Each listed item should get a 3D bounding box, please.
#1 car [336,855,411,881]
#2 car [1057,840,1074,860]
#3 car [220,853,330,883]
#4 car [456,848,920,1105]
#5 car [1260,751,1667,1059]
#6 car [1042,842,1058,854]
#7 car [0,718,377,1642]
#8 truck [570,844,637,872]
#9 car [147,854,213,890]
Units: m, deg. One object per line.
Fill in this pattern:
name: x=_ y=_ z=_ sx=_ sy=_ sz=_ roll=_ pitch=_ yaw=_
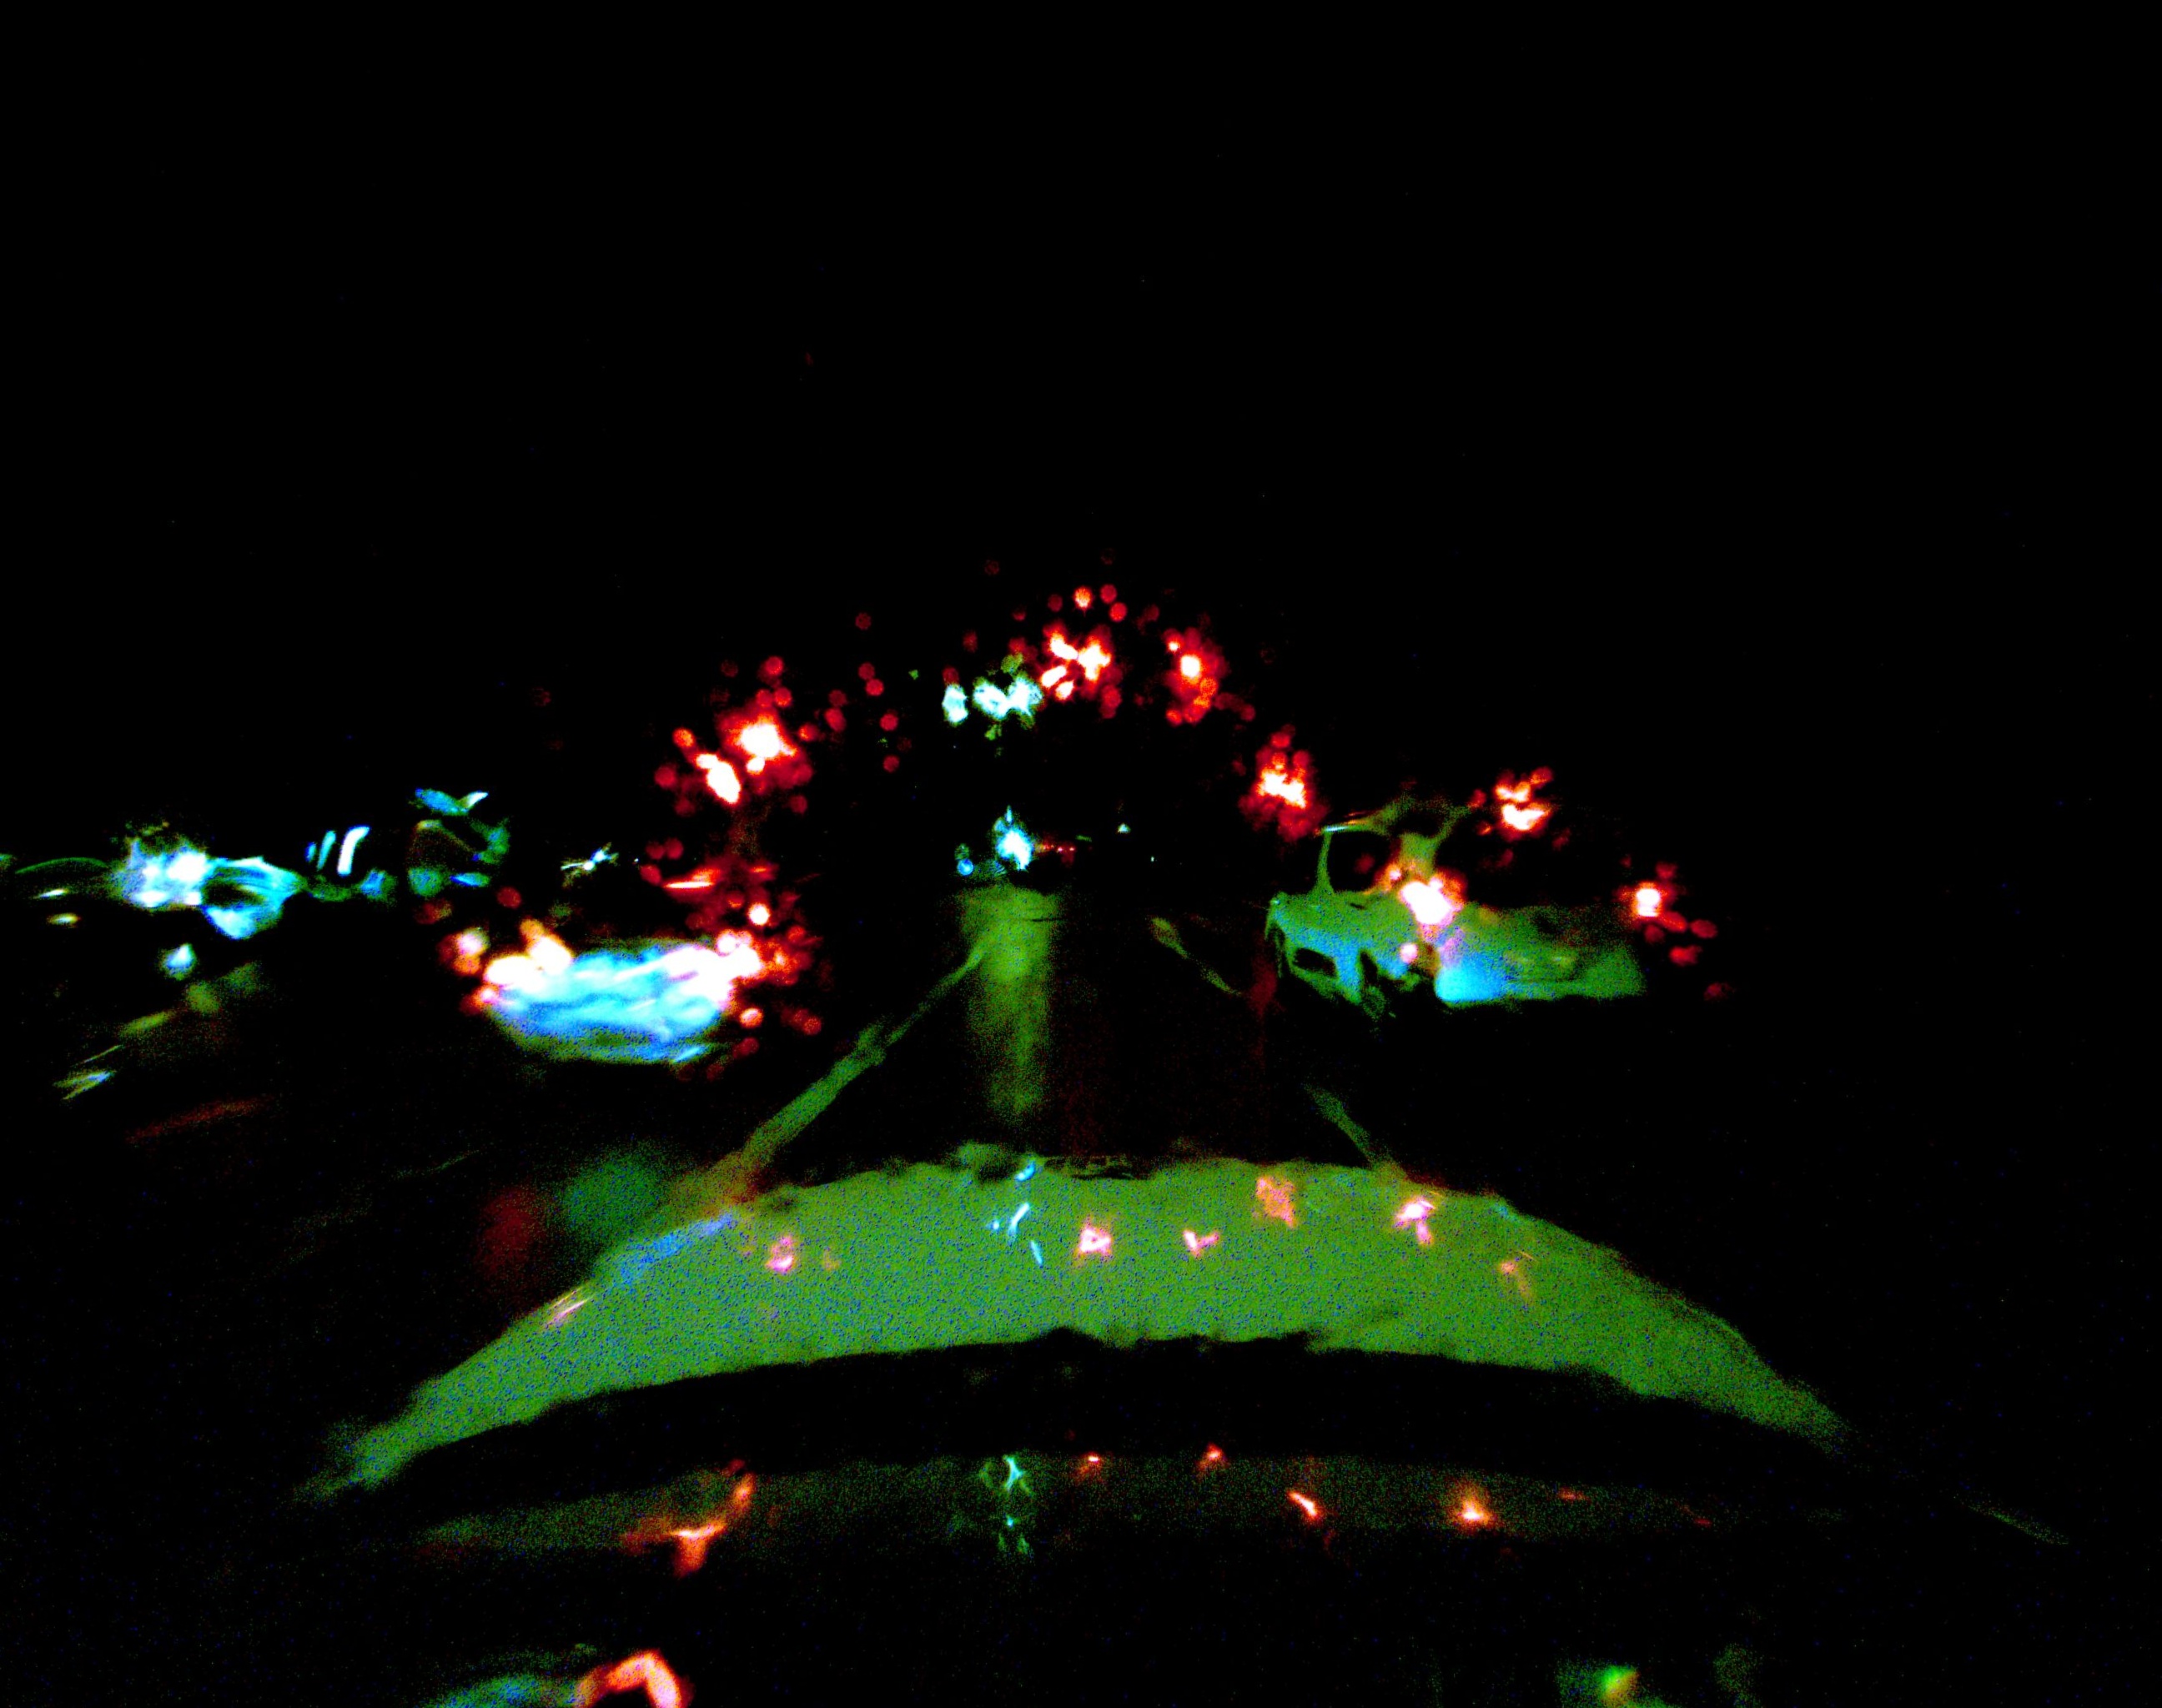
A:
car: x=-43.582 y=0.848 z=50.276 sx=1.722 sy=1.519 sz=3.985 roll=0 pitch=0 yaw=-11
car: x=-1.658 y=-0.406 z=85.401 sx=1.787 sy=2.022 sz=4.576 roll=-1 pitch=0 yaw=-2
car: x=-42.877 y=0.693 z=43.443 sx=1.713 sy=1.519 sz=4.005 roll=0 pitch=0 yaw=5
car: x=-2.828 y=0.742 z=7.166 sx=1.777 sy=1.511 sz=4.438 roll=-2 pitch=0 yaw=2
car: x=3.027 y=0.329 z=7.671 sx=1.785 sy=2.022 sz=4.581 roll=-1 pitch=0 yaw=2
car: x=-5.080 y=-0.930 z=133.789 sx=1.984 sy=1.717 sz=4.005 roll=3 pitch=-1 yaw=5
car: x=-3.033 y=0.644 z=0.173 sx=1.777 sy=1.782 sz=4.438 roll=-1 pitch=0 yaw=2
truck: x=-40.541 y=0.331 z=69.365 sx=1.986 sy=2.271 sz=6.024 roll=0 pitch=0 yaw=2
car: x=-40.633 y=0.786 z=36.801 sx=1.524 sy=1.518 sz=4.322 roll=1 pitch=-1 yaw=-42
